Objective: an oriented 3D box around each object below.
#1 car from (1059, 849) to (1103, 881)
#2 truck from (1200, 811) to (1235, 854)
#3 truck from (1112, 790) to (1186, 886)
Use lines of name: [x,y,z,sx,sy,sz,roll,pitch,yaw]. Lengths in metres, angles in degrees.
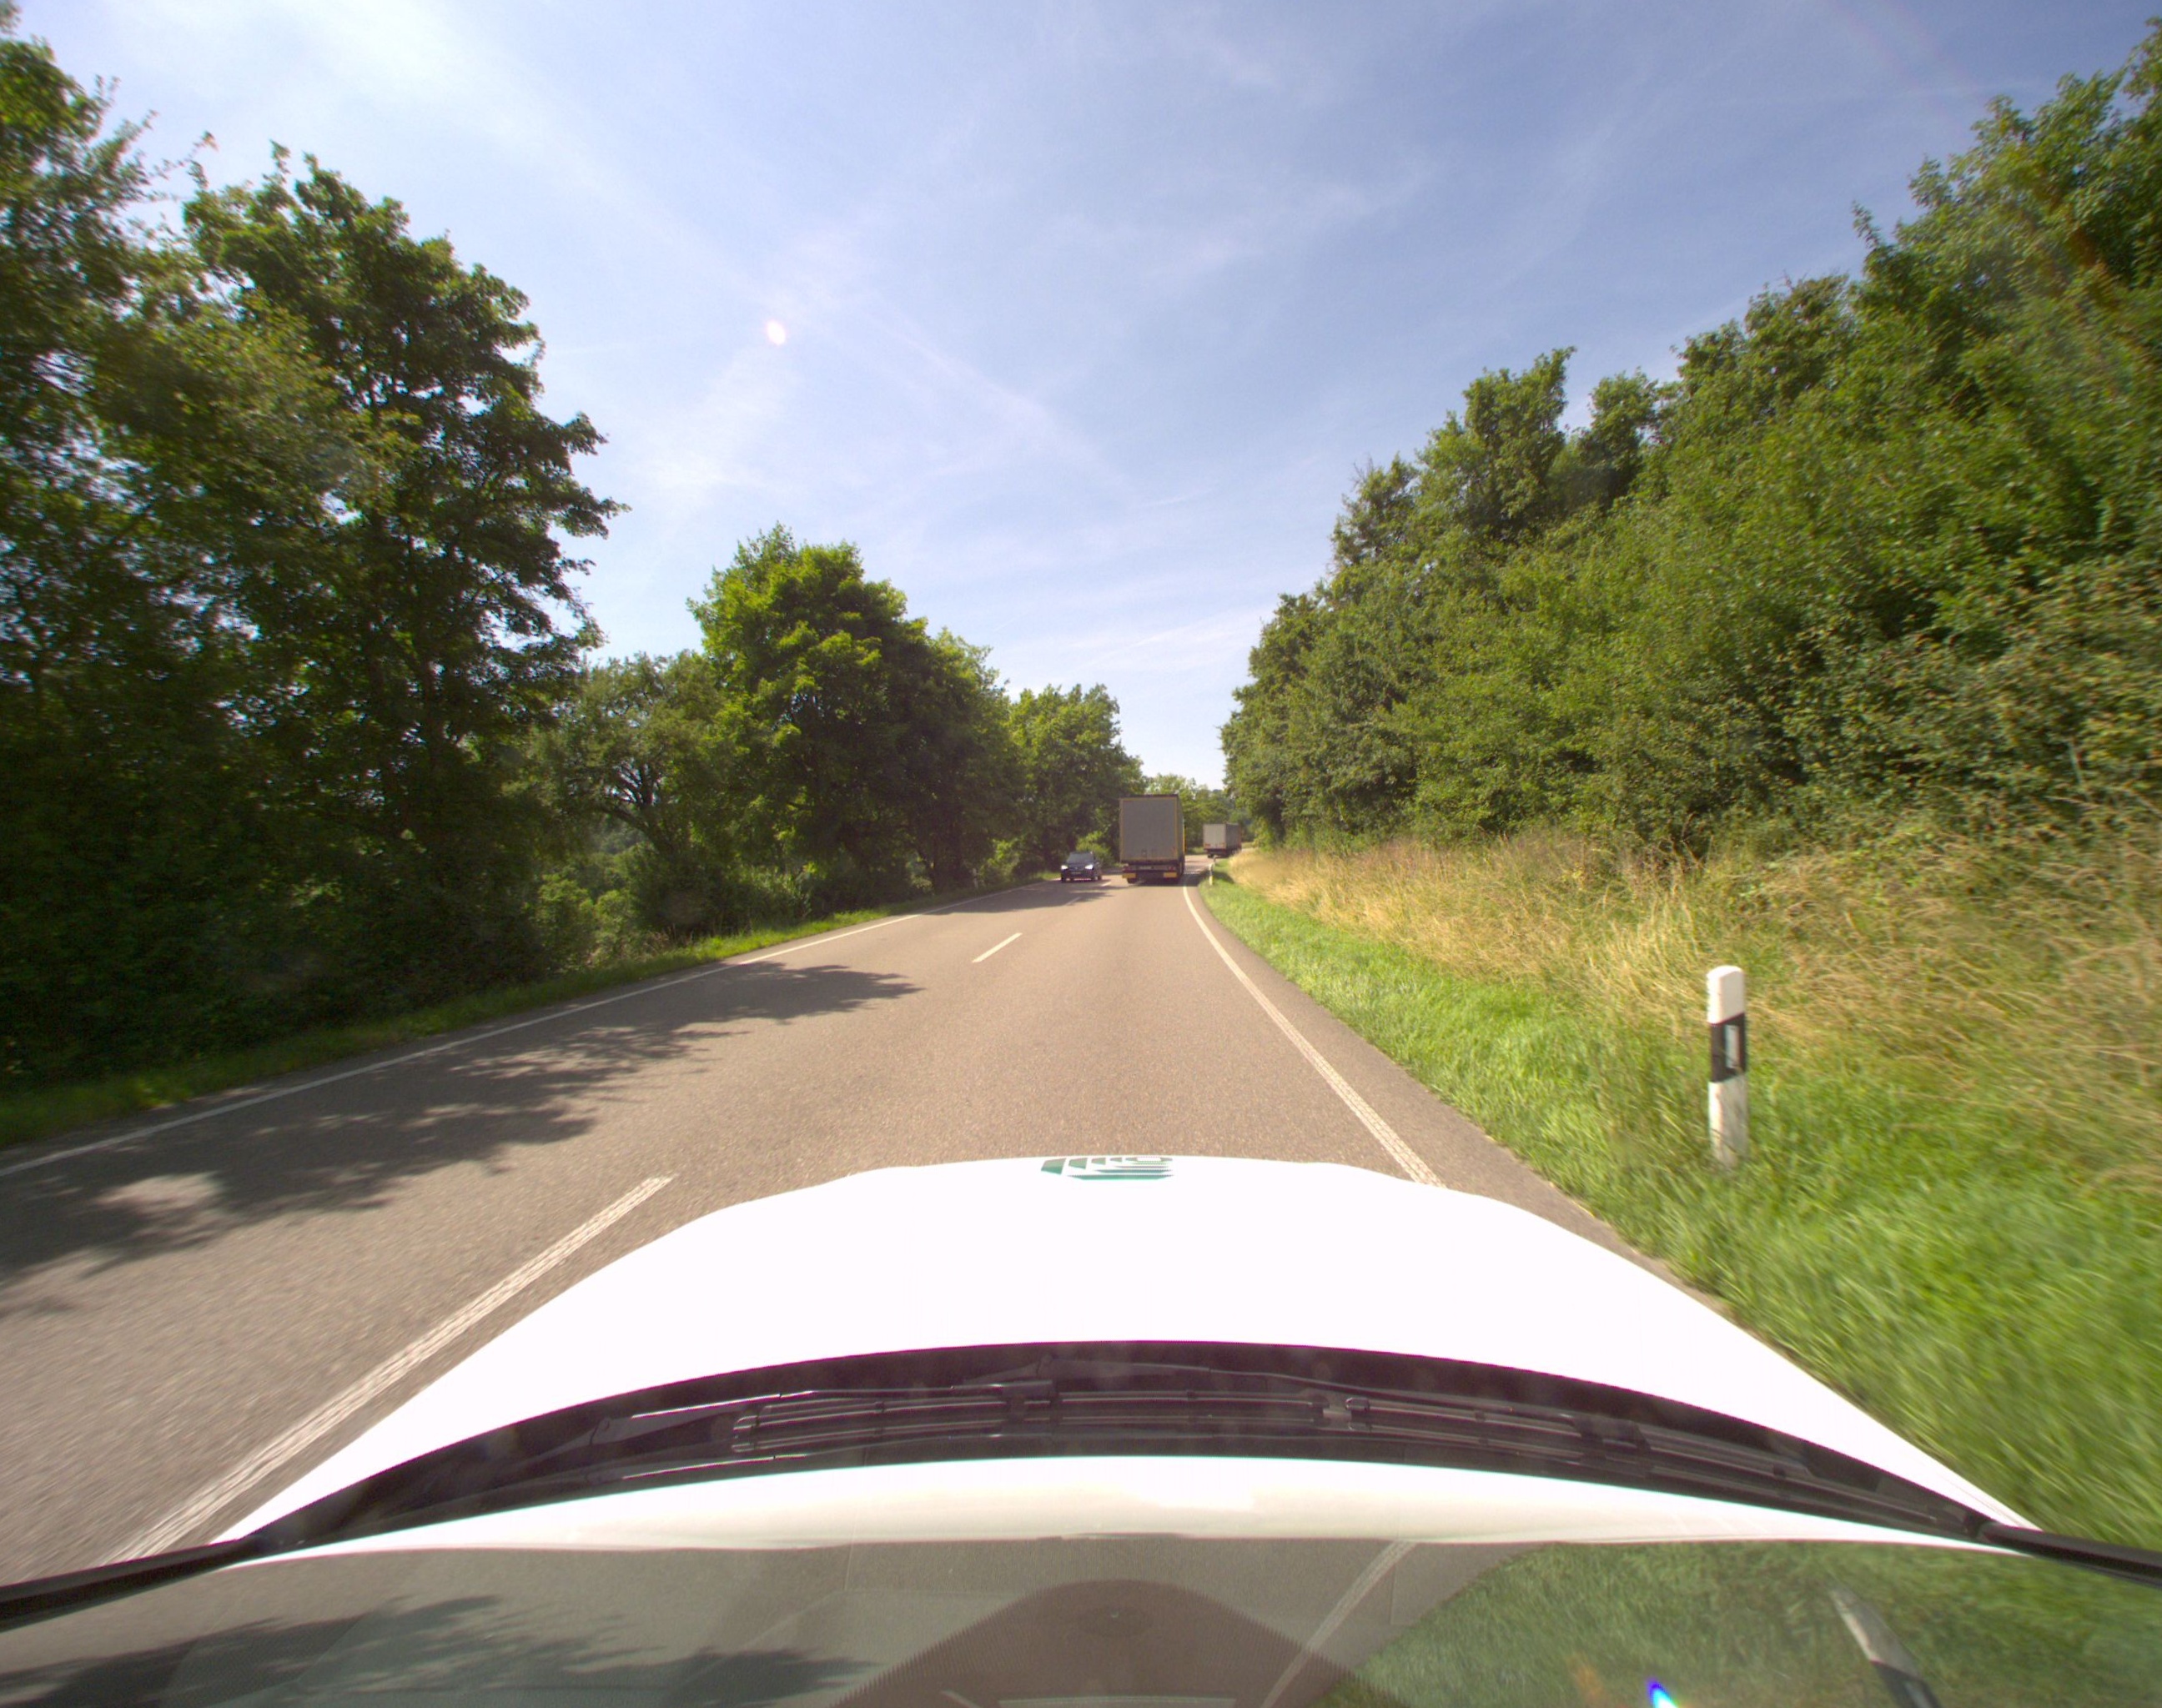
car: [0.038,0.525,42.092,1.660,1.531,3.967,-2,0,8]
truck: [16.770,-2.562,99.078,3.084,4.705,16.648,-2,1,13]
truck: [3.913,-0.837,42.618,2.785,4.068,15.363,-2,1,8]
